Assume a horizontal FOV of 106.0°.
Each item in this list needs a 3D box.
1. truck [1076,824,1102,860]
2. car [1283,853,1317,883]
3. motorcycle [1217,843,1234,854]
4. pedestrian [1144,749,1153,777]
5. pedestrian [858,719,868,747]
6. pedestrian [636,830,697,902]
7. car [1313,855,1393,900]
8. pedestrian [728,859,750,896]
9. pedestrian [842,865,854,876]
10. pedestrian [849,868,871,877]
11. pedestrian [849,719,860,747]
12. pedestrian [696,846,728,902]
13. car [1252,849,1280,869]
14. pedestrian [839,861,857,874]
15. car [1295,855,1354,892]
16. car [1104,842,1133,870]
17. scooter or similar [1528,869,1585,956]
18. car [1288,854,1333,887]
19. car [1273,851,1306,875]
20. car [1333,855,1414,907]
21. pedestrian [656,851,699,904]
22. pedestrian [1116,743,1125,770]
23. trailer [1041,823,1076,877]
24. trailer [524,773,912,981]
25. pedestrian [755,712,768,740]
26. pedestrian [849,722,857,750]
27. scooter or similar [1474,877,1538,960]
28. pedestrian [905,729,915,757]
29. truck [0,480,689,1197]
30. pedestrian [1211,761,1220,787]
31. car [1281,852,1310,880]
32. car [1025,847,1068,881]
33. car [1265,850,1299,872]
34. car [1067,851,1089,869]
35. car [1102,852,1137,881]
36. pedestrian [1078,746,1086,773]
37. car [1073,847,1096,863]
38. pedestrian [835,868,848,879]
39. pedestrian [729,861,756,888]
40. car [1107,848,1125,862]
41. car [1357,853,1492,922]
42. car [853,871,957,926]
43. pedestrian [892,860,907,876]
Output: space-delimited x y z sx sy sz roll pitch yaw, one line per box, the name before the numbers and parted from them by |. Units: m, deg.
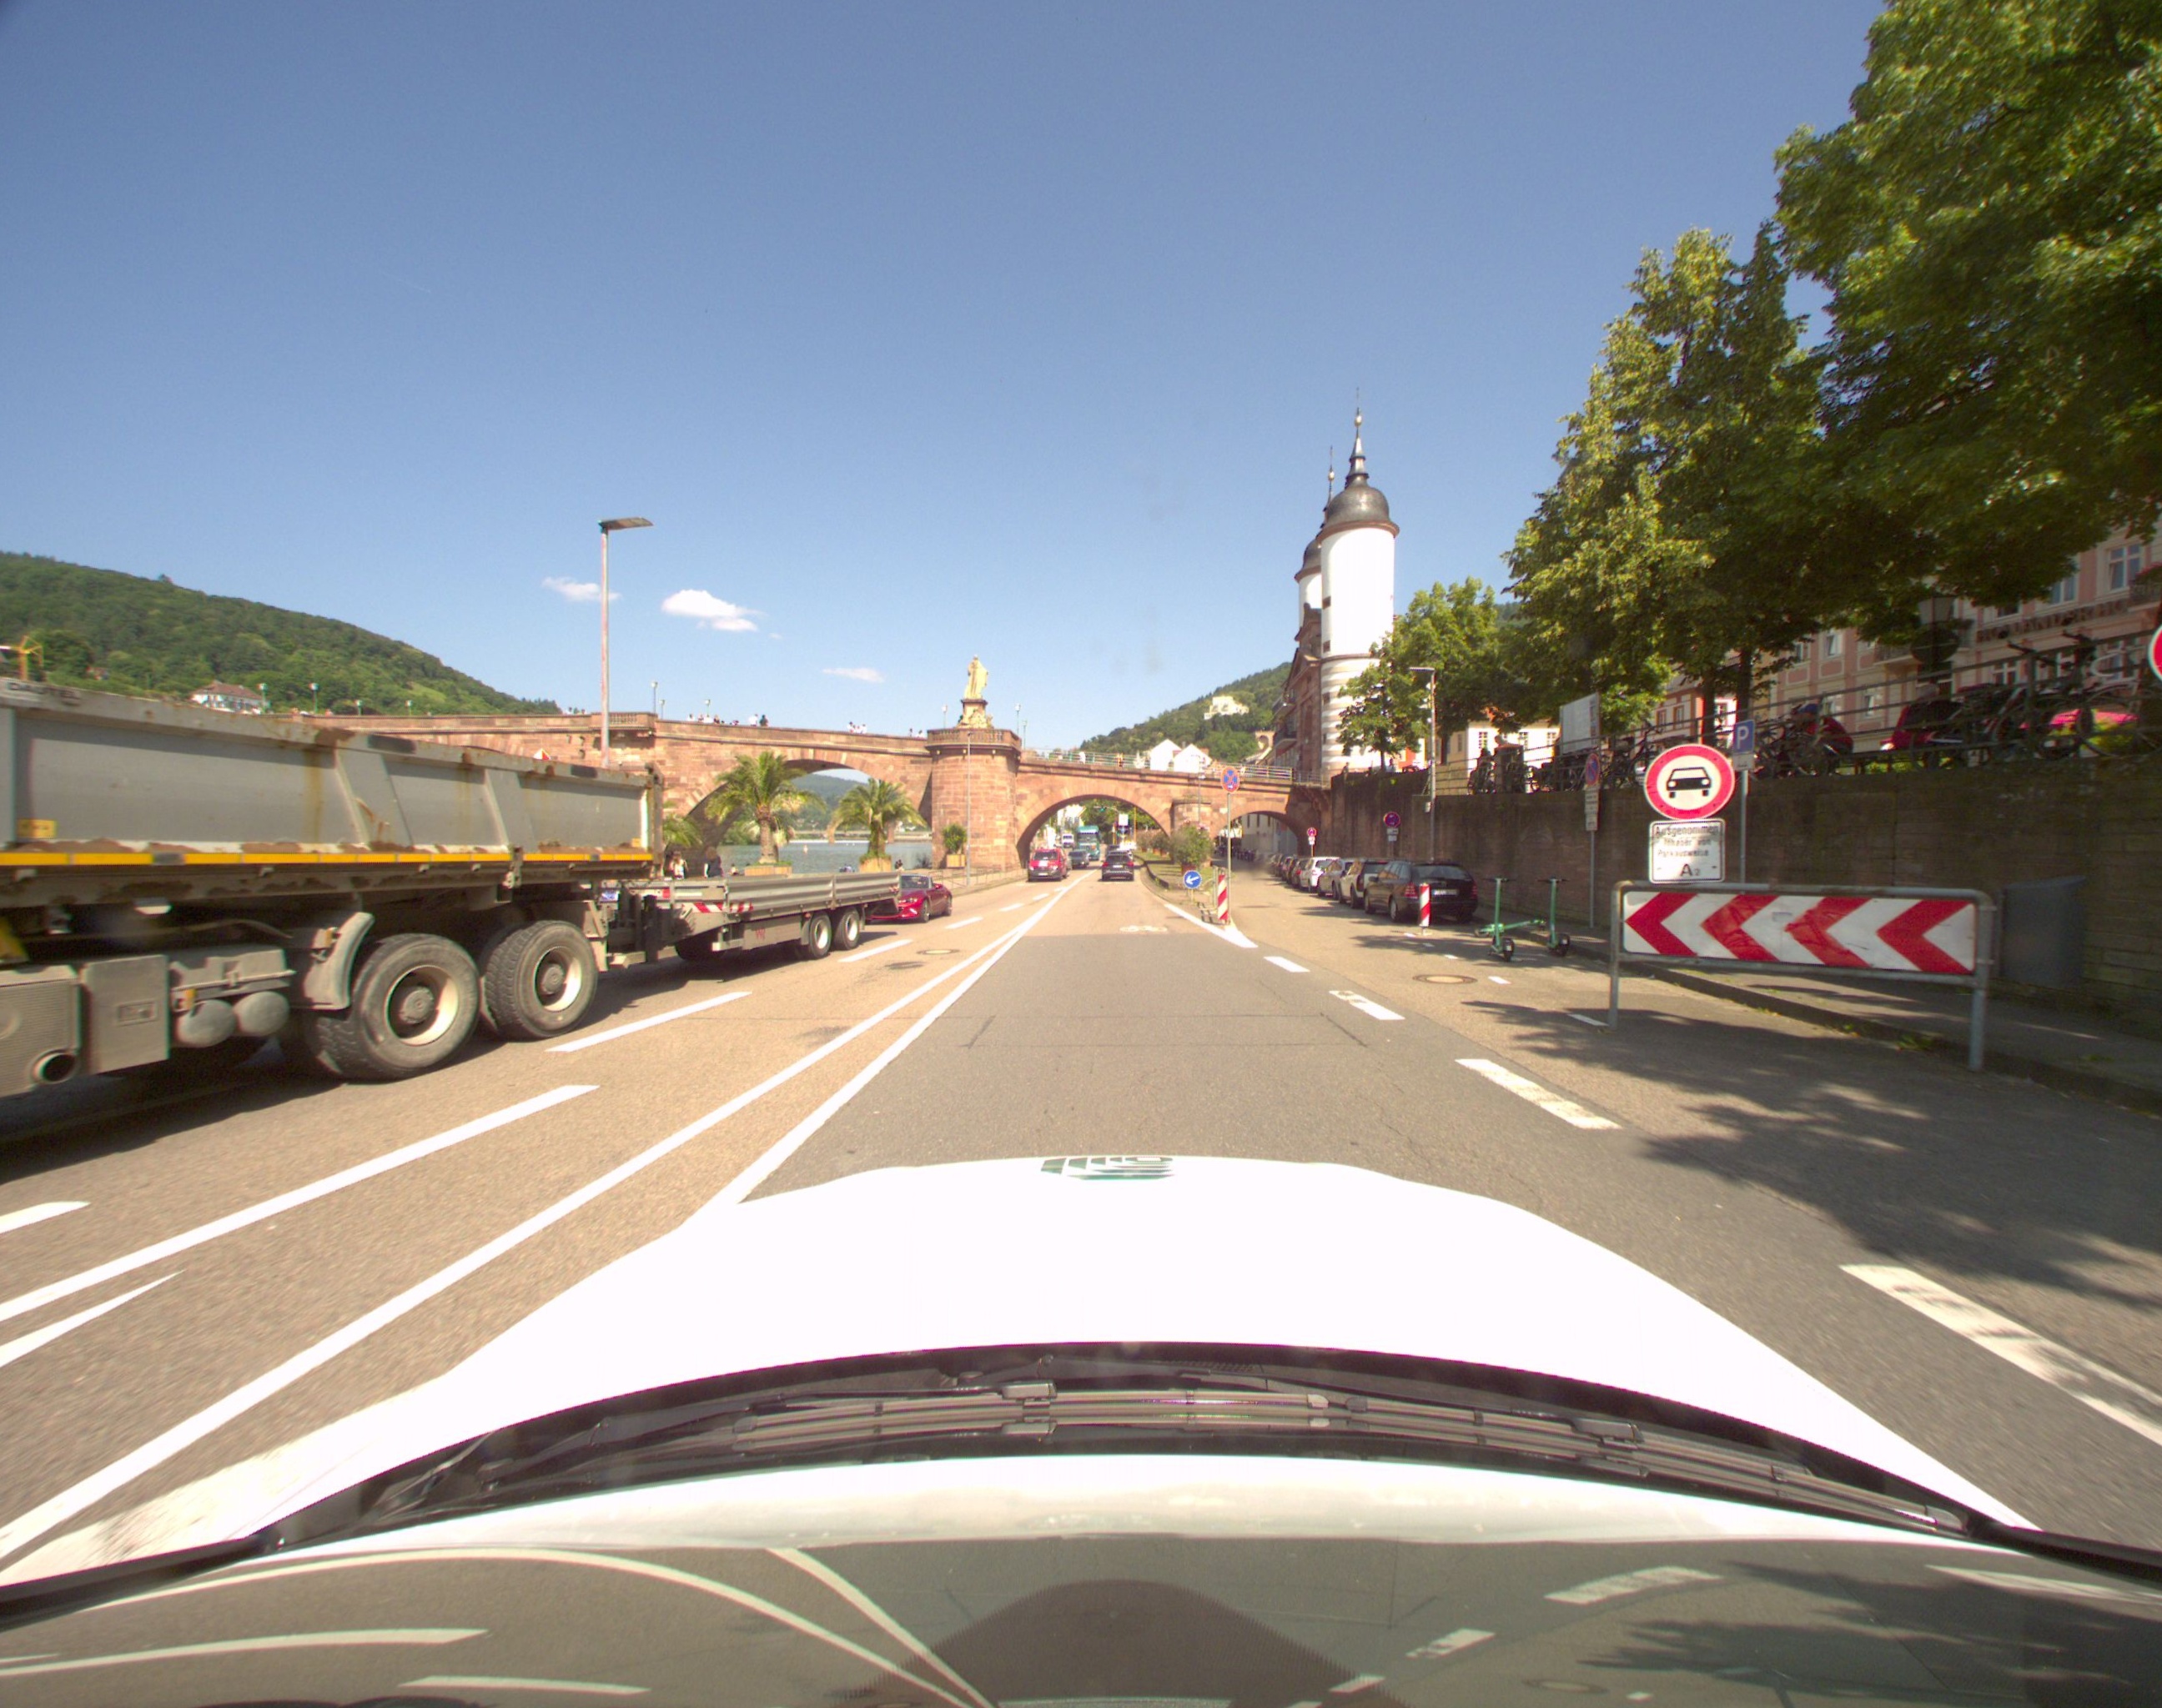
truck | 0.912 -1.340 88.454 2.514 3.748 6.251 -2 2 2
car | 11.539 0.691 42.995 1.485 1.484 3.728 0 0 11
motorcycle | 17.339 -0.666 97.657 2.207 1.267 0.622 -2 2 -35
pedestrian | 4.975 -6.737 60.270 0.621 2.013 0.696 -1 0 4
pedestrian | -16.486 -9.120 61.598 0.622 2.013 0.694 -1 0 -3
pedestrian | -10.037 0.283 19.760 0.812 1.701 1.153 0 0 5
car | 9.628 0.779 29.178 1.745 1.432 4.764 0 0 6
pedestrian | -15.104 1.050 35.991 0.675 1.601 0.595 -1 0 3
pedestrian | -13.547 0.966 47.406 0.460 0.564 0.516 -4 -1 14
pedestrian | -12.554 1.046 46.324 0.642 0.421 1.744 -2 1 5
pedestrian | -17.097 -9.108 61.463 0.622 2.013 0.694 -1 0 -3
pedestrian | -11.480 0.602 25.332 0.799 1.691 0.838 -1 1 -32
car | 15.597 0.400 68.891 1.883 1.492 4.425 -1 1 7
pedestrian | -13.624 0.805 47.620 0.781 0.742 0.713 0 1 13
car | 10.150 0.770 34.142 1.703 1.457 3.552 0 0 5
car | 2.823 0.142 60.991 1.984 2.013 4.006 -1 0 5
scooter or similar | 7.211 0.855 12.392 0.527 1.230 1.278 -1 0 21
car | 10.730 0.737 38.280 1.699 1.388 4.422 -2 0 12
car | 13.795 0.575 53.994 1.764 1.502 3.998 -1 1 10
car | 8.710 0.763 24.521 1.602 1.413 3.913 0 0 9
pedestrian | -12.315 0.718 24.887 0.794 1.534 1.111 -4 0 -12
pedestrian | 3.056 -7.592 63.311 0.681 2.013 0.587 -1 0 4
trailer | -1.413 -0.273 52.692 1.733 3.320 3.389 -2 0 5
trailer | -5.323 0.323 13.712 2.683 2.531 6.961 -2 -1 7
pedestrian | -24.072 -9.683 61.441 0.690 2.013 0.625 -1 0 0
pedestrian | -17.383 -8.990 62.081 0.457 2.013 0.553 -1 0 -3
scooter or similar | 6.134 0.900 11.805 0.527 1.089 1.445 -1 0 16
pedestrian | -12.902 -8.398 61.529 0.622 2.013 0.694 -1 0 -3
truck | -6.323 -0.043 5.543 2.628 3.457 7.886 -2 0 7
pedestrian | 10.750 -6.368 65.089 0.681 2.013 0.587 -1 0 4
car | 12.522 0.667 47.689 1.580 1.520 3.917 0 0 13
car | -1.931 0.543 47.417 1.865 1.827 4.550 -2 1 5
car | 14.556 0.487 59.181 1.766 1.436 4.501 0 1 6
car | -0.243 0.498 69.401 1.528 1.436 3.732 -2 0 4
car | 2.221 0.657 46.052 1.848 1.524 4.005 -1 0 4
pedestrian | 0.074 -7.334 63.372 0.578 2.013 0.587 -1 0 4
car | 0.368 0.055 77.666 1.714 1.437 4.408 -2 0 6
pedestrian | -13.526 1.086 46.065 0.460 0.564 0.516 -4 -1 14
pedestrian | -15.224 0.919 36.592 0.936 1.145 0.509 -3 0 8
car | 4.120 0.106 96.714 1.988 1.662 3.999 0 0 -1
car | 8.050 0.711 19.554 1.833 1.450 4.544 0 0 7
car | -4.537 1.112 21.501 1.663 1.194 3.633 -2 0 4
pedestrian | -14.331 1.098 64.325 0.722 1.241 1.148 0 0 8
